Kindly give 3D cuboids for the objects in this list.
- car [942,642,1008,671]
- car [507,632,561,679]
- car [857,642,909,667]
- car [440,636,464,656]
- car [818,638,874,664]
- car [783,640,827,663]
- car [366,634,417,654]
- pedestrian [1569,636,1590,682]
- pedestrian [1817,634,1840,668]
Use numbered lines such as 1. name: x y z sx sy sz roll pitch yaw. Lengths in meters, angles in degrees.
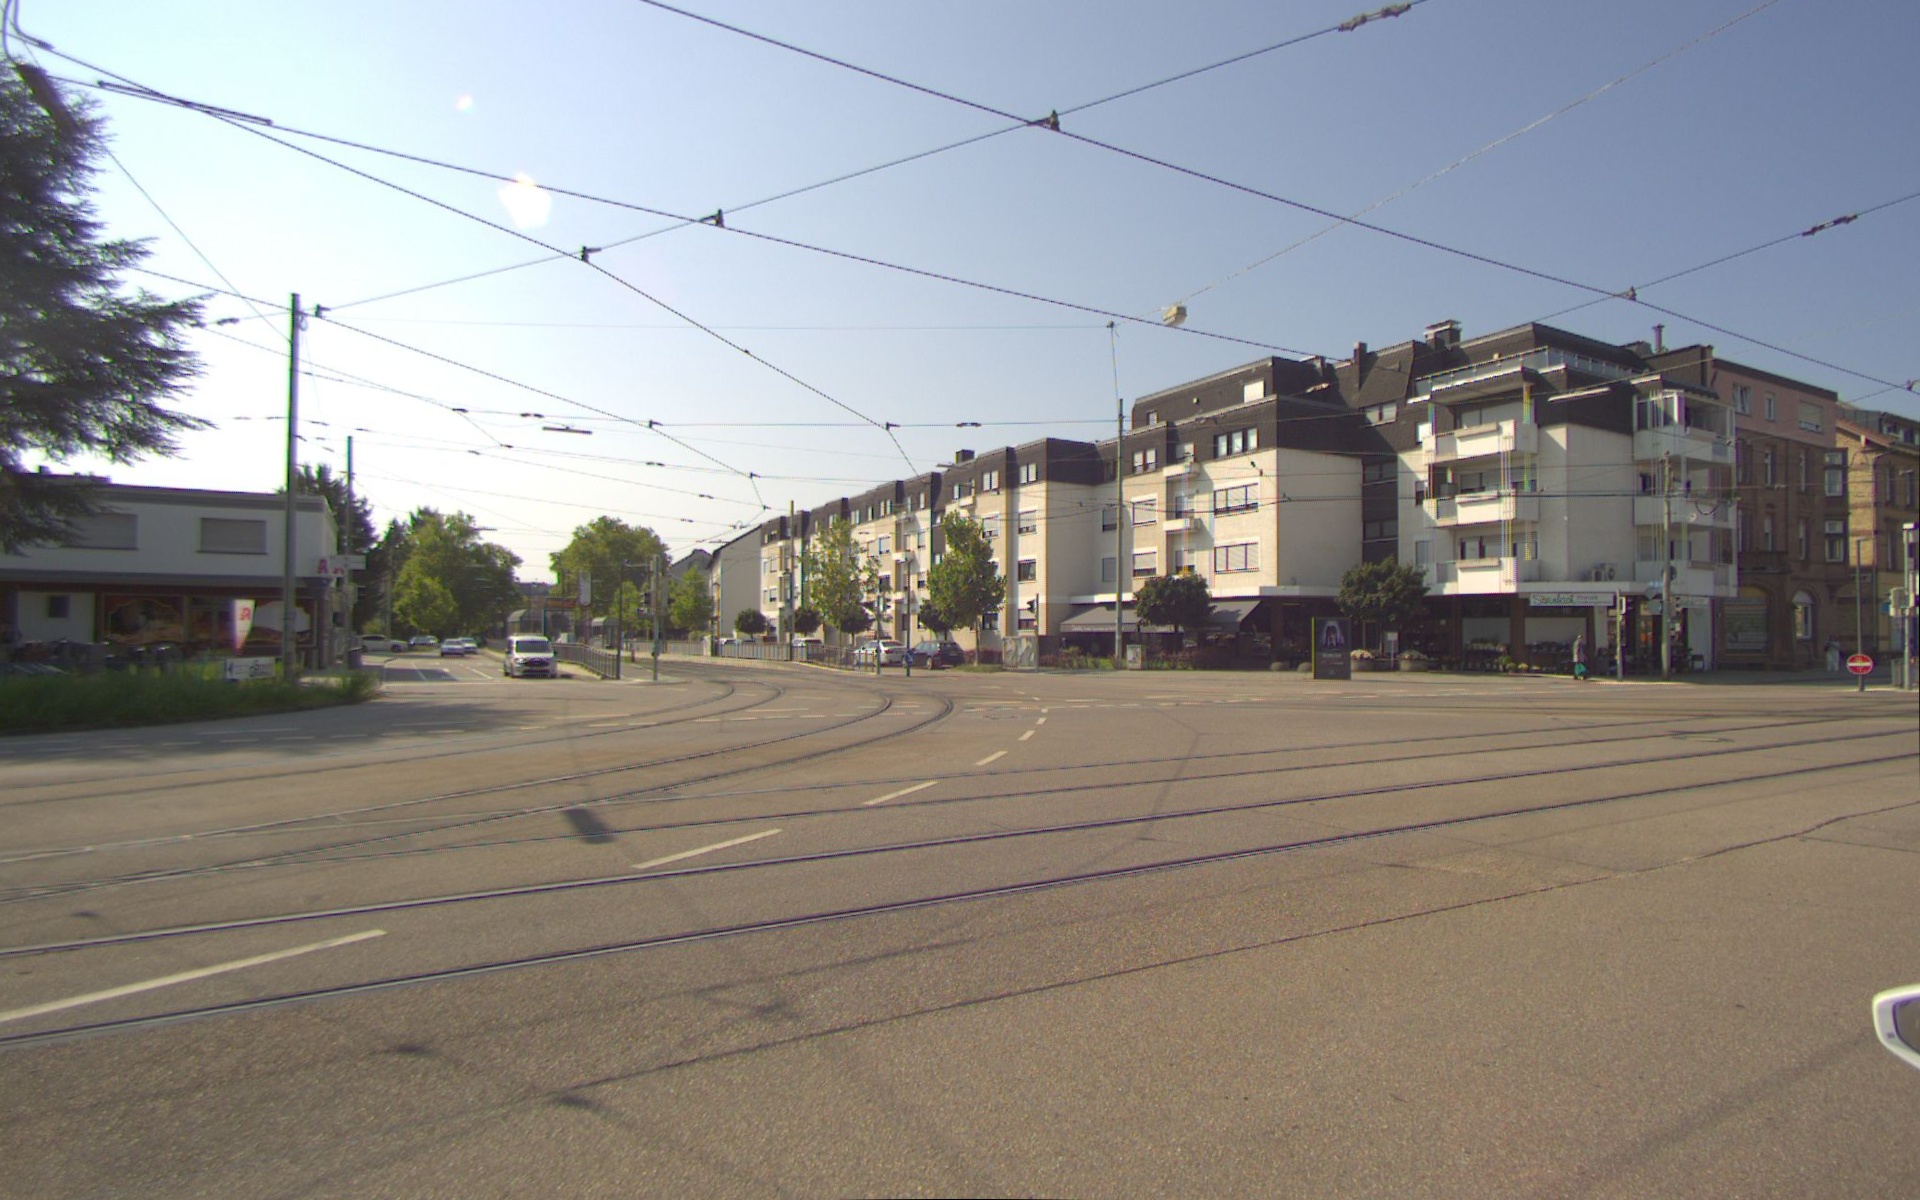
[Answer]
1. car: 0.819 3.155 56.692 1.907 1.527 4.090 2 -2 -30
2. car: -18.404 2.330 43.312 1.800 1.911 3.998 1 -2 -28
3. car: -4.355 3.094 56.541 1.650 1.316 4.100 1 -4 -24
4. car: -41.881 3.838 82.883 1.704 1.527 3.975 1 -4 -26
5. car: -7.114 3.177 62.162 1.848 1.554 4.350 2 -4 -31
6. car: -10.496 3.471 67.635 1.653 1.500 3.888 1 -4 -30
7. car: -51.996 4.047 91.880 3.954 1.794 1.985 2 -4 -31
8. pedestrian: 23.964 2.285 38.848 0.589 1.768 0.565 -2 -4 27
9. pedestrian: 41.585 2.445 48.101 0.873 1.580 0.482 2 -1 -19
